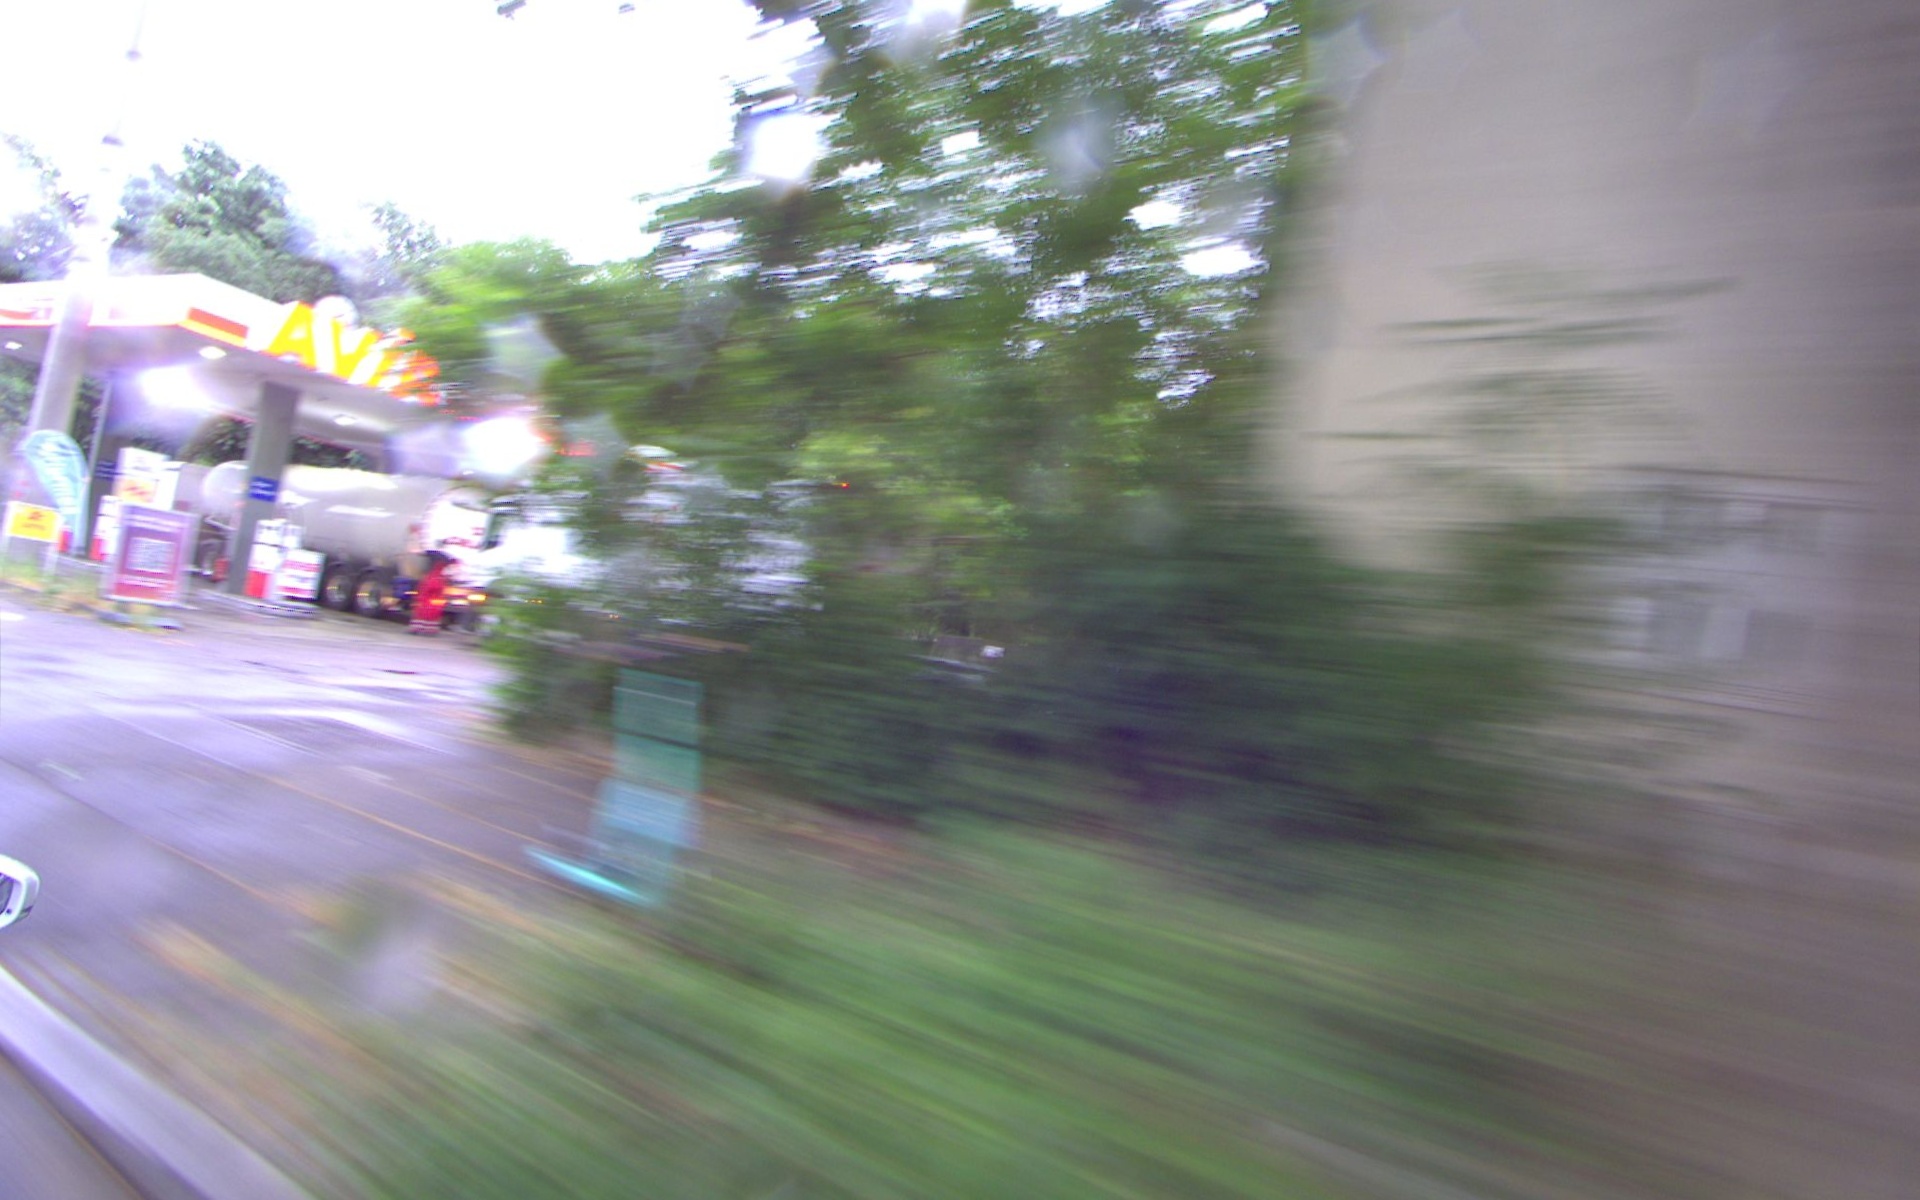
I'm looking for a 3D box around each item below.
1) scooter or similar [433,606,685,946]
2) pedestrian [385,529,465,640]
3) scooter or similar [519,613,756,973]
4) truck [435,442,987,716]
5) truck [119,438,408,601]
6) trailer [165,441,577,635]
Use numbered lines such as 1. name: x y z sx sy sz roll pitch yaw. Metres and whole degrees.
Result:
1. scooter or similar: -1.758 0.685 4.332 1.225 1.212 0.371 4 -4 43
2. pedestrian: -10.793 -0.305 20.311 1.167 2.037 0.864 9 -1 -29
3. scooter or similar: -1.411 0.718 4.254 0.372 1.247 1.357 9 -4 -37
4. truck: -5.009 -0.579 18.701 10.212 3.720 3.932 7 -2 36
5. truck: -20.132 -2.328 29.083 6.859 3.557 3.913 8 -1 29
6. trailer: -15.785 -1.759 26.519 11.587 3.546 3.907 8 -1 30
